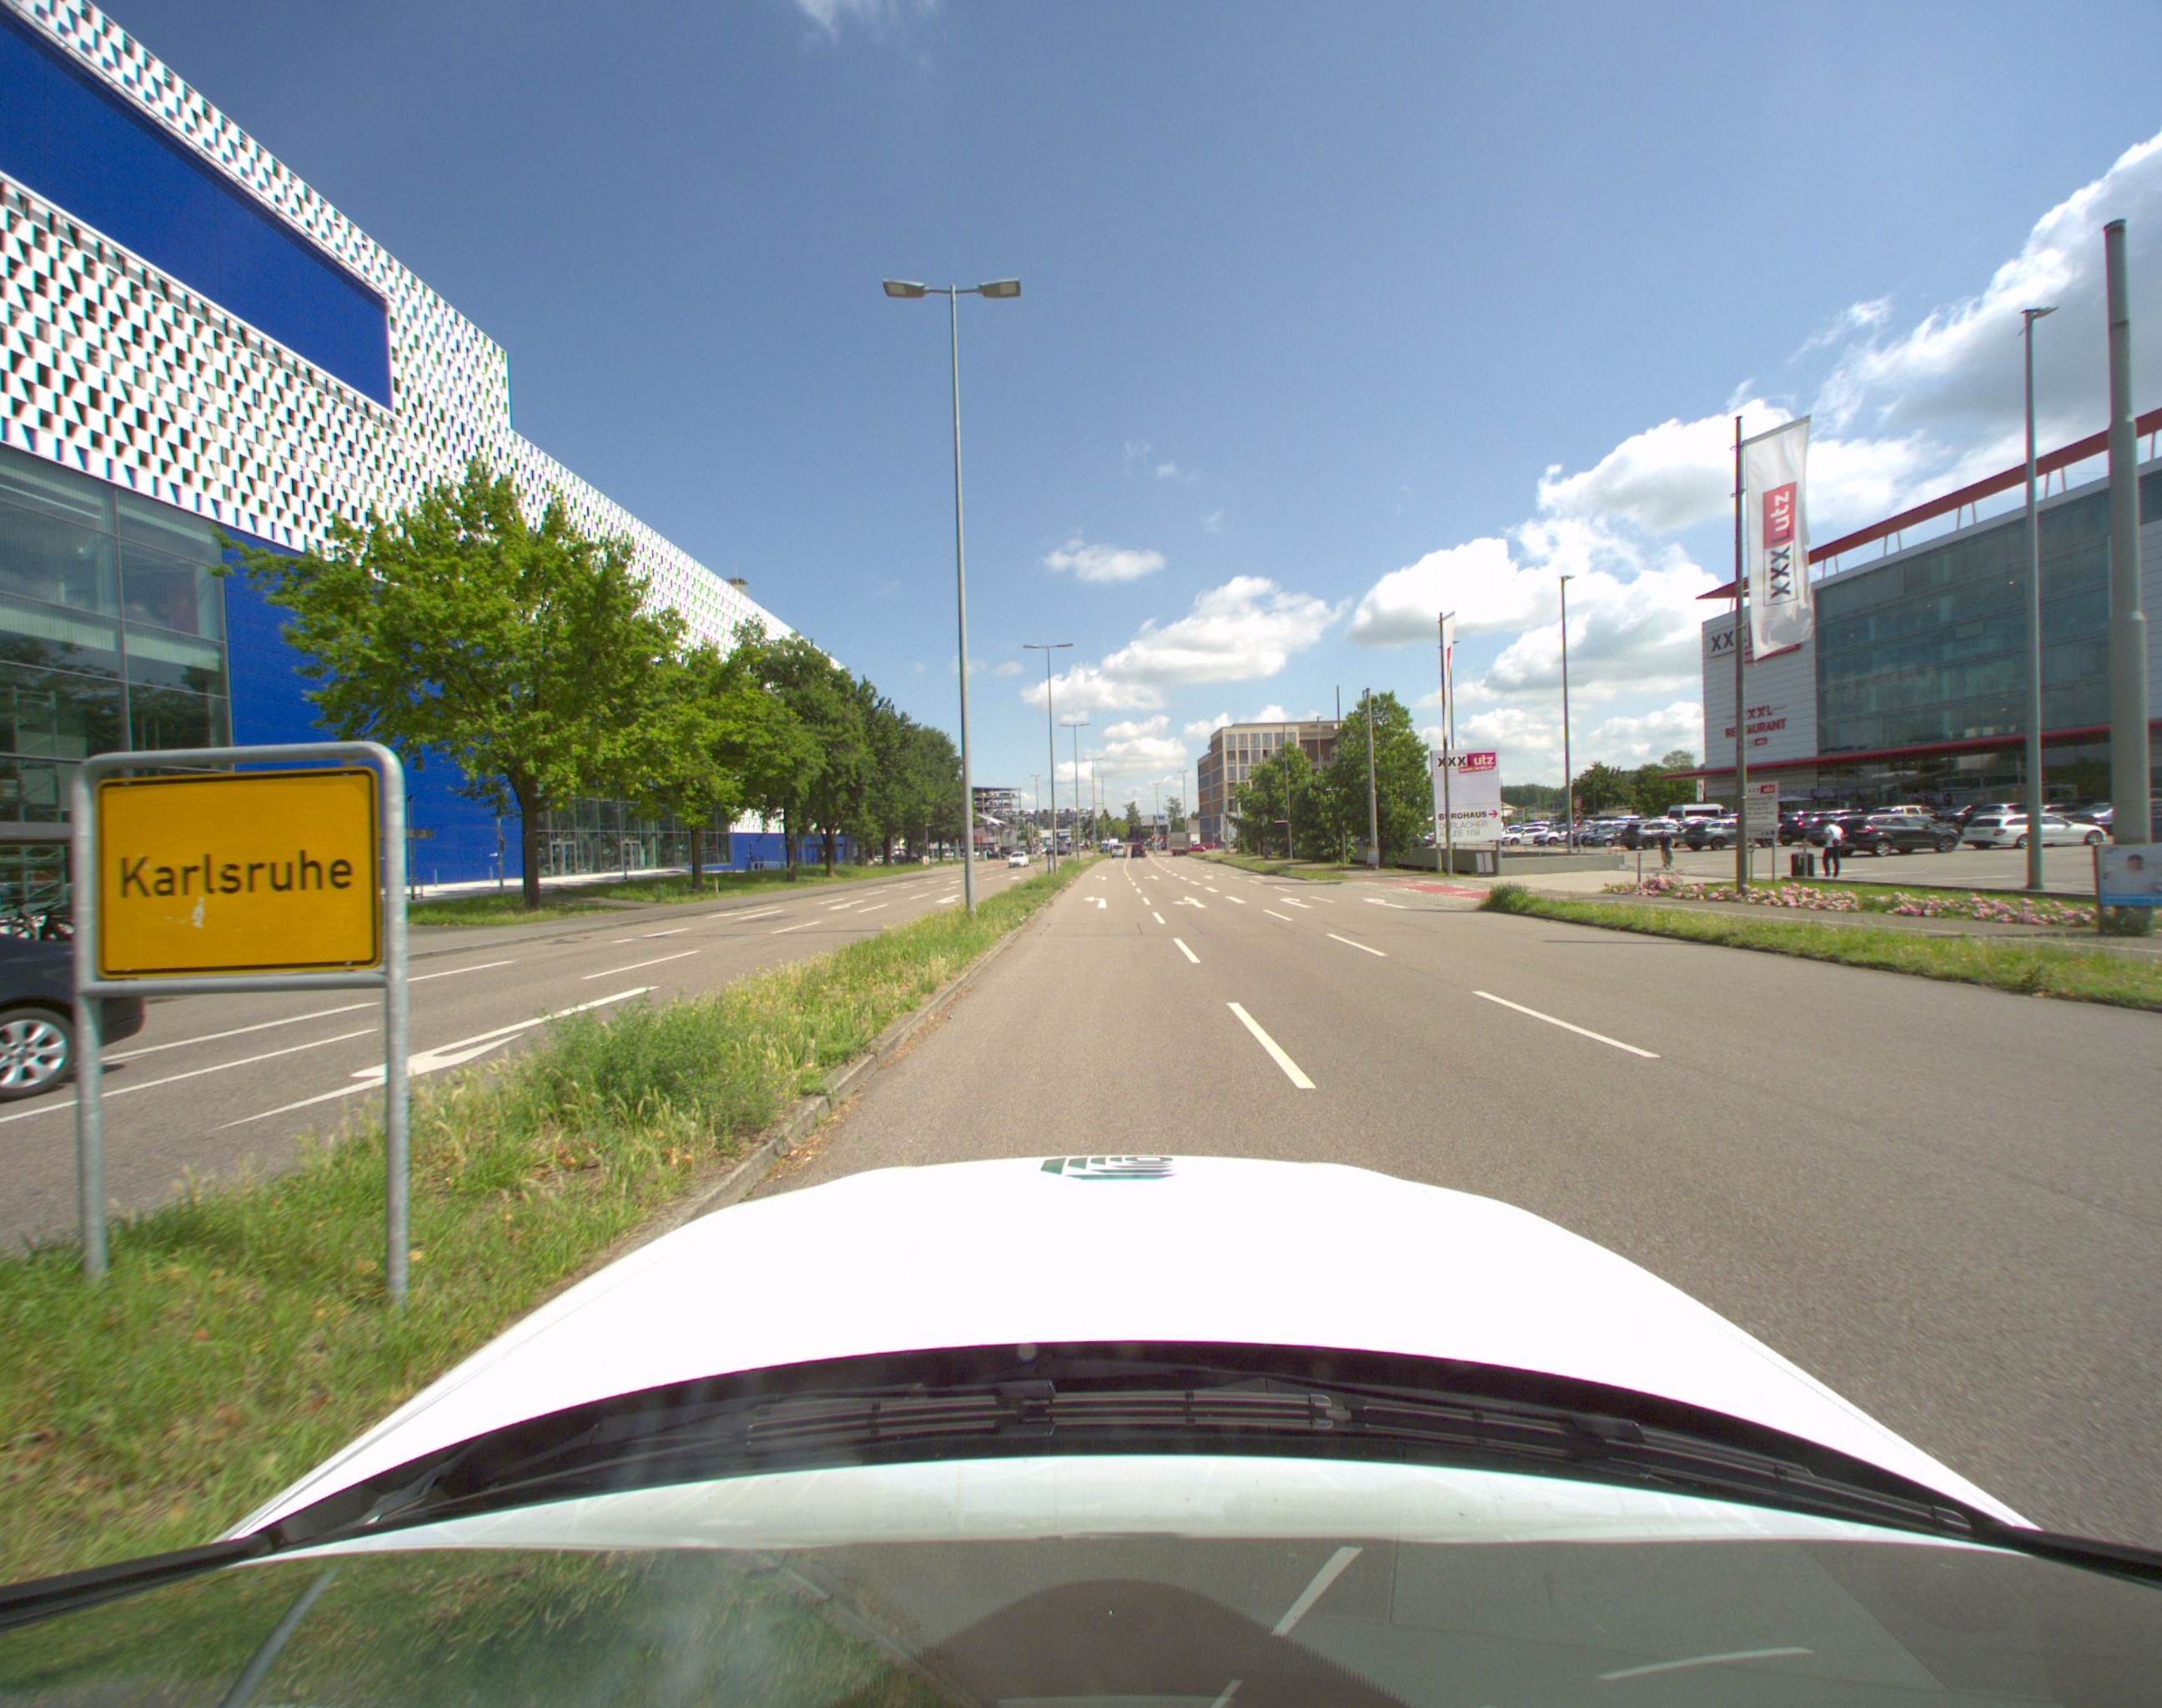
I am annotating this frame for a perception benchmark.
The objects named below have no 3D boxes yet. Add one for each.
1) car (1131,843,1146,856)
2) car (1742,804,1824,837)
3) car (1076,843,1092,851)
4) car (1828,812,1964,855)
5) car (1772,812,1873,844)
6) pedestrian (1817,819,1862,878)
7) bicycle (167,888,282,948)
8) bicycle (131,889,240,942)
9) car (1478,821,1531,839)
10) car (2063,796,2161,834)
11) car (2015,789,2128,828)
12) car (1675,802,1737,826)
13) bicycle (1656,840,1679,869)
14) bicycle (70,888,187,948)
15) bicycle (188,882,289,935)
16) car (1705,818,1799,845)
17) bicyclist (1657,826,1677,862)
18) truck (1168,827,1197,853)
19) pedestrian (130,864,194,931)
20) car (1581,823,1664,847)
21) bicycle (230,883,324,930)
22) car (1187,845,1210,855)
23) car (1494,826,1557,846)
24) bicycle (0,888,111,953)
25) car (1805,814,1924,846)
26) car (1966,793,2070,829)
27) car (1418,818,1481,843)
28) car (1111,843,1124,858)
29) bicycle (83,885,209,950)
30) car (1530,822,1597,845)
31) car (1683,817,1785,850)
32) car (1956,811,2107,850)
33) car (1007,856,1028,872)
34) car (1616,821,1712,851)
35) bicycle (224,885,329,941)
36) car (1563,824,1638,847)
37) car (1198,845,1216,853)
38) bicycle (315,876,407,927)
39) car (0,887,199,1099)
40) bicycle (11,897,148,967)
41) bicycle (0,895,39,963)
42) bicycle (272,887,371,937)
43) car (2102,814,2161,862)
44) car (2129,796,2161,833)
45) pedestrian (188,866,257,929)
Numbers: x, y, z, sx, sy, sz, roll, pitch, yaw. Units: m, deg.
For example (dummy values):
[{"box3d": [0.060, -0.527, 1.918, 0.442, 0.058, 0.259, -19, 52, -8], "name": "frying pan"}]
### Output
[{"box3d": [7.911, -0.633, 112.311, 1.810, 1.808, 4.008, -1, 1, 7], "name": "car"}, {"box3d": [49.109, -2.313, 57.015, 3.972, 2.013, 2.001, -4, 1, 1], "name": "car"}, {"box3d": [0.791, -1.793, 208.170, 3.977, 1.925, 1.825, -1, 0, -3], "name": "car"}, {"box3d": [34.254, -0.852, 34.292, 4.043, 1.531, 1.741, -3, 0, -2], "name": "car"}, {"box3d": [40.630, -1.432, 44.682, 3.973, 1.464, 1.728, -4, 1, 0], "name": "car"}, {"box3d": [23.409, -0.188, 25.145, 0.861, 1.782, 0.789, -1, 1, 32], "name": "pedestrian"}, {"box3d": [-19.626, 1.459, 18.682, 1.918, 1.272, 0.630, -1, 1, 1], "name": "bicycle"}, {"box3d": [-21.846, 1.490, 19.889, 1.918, 1.179, 0.630, -1, 1, 1], "name": "bicycle"}, {"box3d": [40.973, -2.313, 78.875, 4.168, 1.434, 1.727, -3, 1, 1], "name": "car"}, {"box3d": [50.402, -1.900, 39.136, 4.211, 1.587, 1.853, -3, 1, 0], "name": "car"}, {"box3d": [56.370, -2.561, 46.387, 3.972, 2.013, 2.001, -1, 1, 1], "name": "car"}, {"box3d": [55.783, -3.566, 72.734, 3.972, 1.951, 2.001, -1, 1, 2], "name": "car"}, {"box3d": [23.652, 0.021, 32.849, 0.617, 1.067, 1.980, -2, 1, 33], "name": "bicycle"}, {"box3d": [-21.868, 1.457, 18.710, 1.918, 1.272, 0.630, -1, 1, 1], "name": "bicycle"}, {"box3d": [-21.840, 1.412, 21.129, 1.918, 1.272, 0.630, -1, 1, 1], "name": "bicycle"}, {"box3d": [40.560, -1.349, 49.275, 4.225, 1.464, 1.761, -1, 1, 0], "name": "car"}, {"box3d": [23.644, -0.405, 32.855, 0.609, 1.412, 0.719, -2, 1, 33], "name": "bicyclist"}, {"box3d": [15.758, -2.229, 126.241, 3.106, 3.940, 8.895, -1, 1, 15], "name": "truck"}, {"box3d": [-25.836, 1.208, 22.909, 0.751, 1.822, 0.887, -1, 0, 2], "name": "pedestrian"}, {"box3d": [36.042, -1.263, 54.257, 4.344, 1.325, 1.765, -3, 1, 0], "name": "car"}, {"box3d": [-21.869, 1.430, 22.171, 1.918, 1.183, 0.630, -1, 1, 1], "name": "bicycle"}, {"box3d": [21.110, -0.727, 145.722, 3.961, 1.661, 2.006, -1, 1, 10], "name": "car"}, {"box3d": [36.560, -1.500, 67.009, 4.172, 1.389, 1.892, -3, 1, -2], "name": "car"}, {"box3d": [-21.898, 1.397, 17.248, 1.918, 1.272, 0.630, -1, 1, 1], "name": "bicycle"}, {"box3d": [40.380, -1.222, 42.059, 4.344, 1.499, 1.891, -1, 0, 0], "name": "car"}, {"box3d": [56.732, -2.583, 49.380, 3.972, 2.013, 2.001, -1, 1, 1], "name": "car"}, {"box3d": [38.367, -2.432, 84.877, 5.640, 2.366, 2.061, -1, 0, 0], "name": "car"}, {"box3d": [5.063, -0.509, 113.010, 1.849, 2.018, 4.003, -1, 1, 2], "name": "car"}, {"box3d": [-19.830, 1.345, 17.291, 1.918, 1.272, 0.630, -1, 1, 1], "name": "bicycle"}, {"box3d": [36.822, -1.538, 62.191, 3.975, 1.571, 1.999, -1, 0, -1], "name": "car"}, {"box3d": [35.687, -1.118, 44.572, 4.168, 1.552, 1.765, -3, 1, 0], "name": "car"}, {"box3d": [40.003, -1.000, 34.352, 4.273, 1.427, 1.760, -2, 2, 2], "name": "car"}, {"box3d": [-6.093, 0.921, 78.438, 1.637, 1.428, 3.671, -3, 0, 1], "name": "car"}, {"box3d": [35.430, -1.096, 49.553, 4.344, 1.574, 2.030, -3, 1, 0], "name": "car"}, {"box3d": [-19.695, 1.437, 19.949, 1.918, 1.272, 0.630, -1, 1, 1], "name": "bicycle"}, {"box3d": [36.284, -1.304, 56.927, 4.168, 1.325, 1.689, -3, 1, 1], "name": "car"}, {"box3d": [24.845, -0.980, 160.419, 3.261, 1.405, 1.335, -1, 9, 1], "name": "car"}, {"box3d": [-19.614, 1.285, 22.208, 1.918, 1.272, 0.630, -1, 1, 1], "name": "bicycle"}, {"box3d": [-8.366, 1.045, 4.612, 1.658, 1.421, 4.520, -4, 0, 1], "name": "car"}, {"box3d": [-19.923, 1.544, 16.224, 1.918, 1.272, 0.630, -1, 1, 1], "name": "bicycle"}, {"box3d": [-22.070, 1.502, 16.169, 1.918, 1.272, 0.630, -1, 1, 1], "name": "bicycle"}, {"box3d": [-19.664, 1.493, 21.103, 1.918, 1.183, 0.630, -1, 1, 1], "name": "bicycle"}, {"box3d": [34.491, -0.577, 24.775, 4.340, 1.362, 1.849, -3, 2, 3], "name": "car"}, {"box3d": [50.371, -1.875, 36.574, 4.211, 1.587, 1.853, -3, 1, 0], "name": "car"}, {"box3d": [-24.142, 1.221, 22.924, 0.946, 1.702, 0.887, -1, 0, 2], "name": "pedestrian"}]
